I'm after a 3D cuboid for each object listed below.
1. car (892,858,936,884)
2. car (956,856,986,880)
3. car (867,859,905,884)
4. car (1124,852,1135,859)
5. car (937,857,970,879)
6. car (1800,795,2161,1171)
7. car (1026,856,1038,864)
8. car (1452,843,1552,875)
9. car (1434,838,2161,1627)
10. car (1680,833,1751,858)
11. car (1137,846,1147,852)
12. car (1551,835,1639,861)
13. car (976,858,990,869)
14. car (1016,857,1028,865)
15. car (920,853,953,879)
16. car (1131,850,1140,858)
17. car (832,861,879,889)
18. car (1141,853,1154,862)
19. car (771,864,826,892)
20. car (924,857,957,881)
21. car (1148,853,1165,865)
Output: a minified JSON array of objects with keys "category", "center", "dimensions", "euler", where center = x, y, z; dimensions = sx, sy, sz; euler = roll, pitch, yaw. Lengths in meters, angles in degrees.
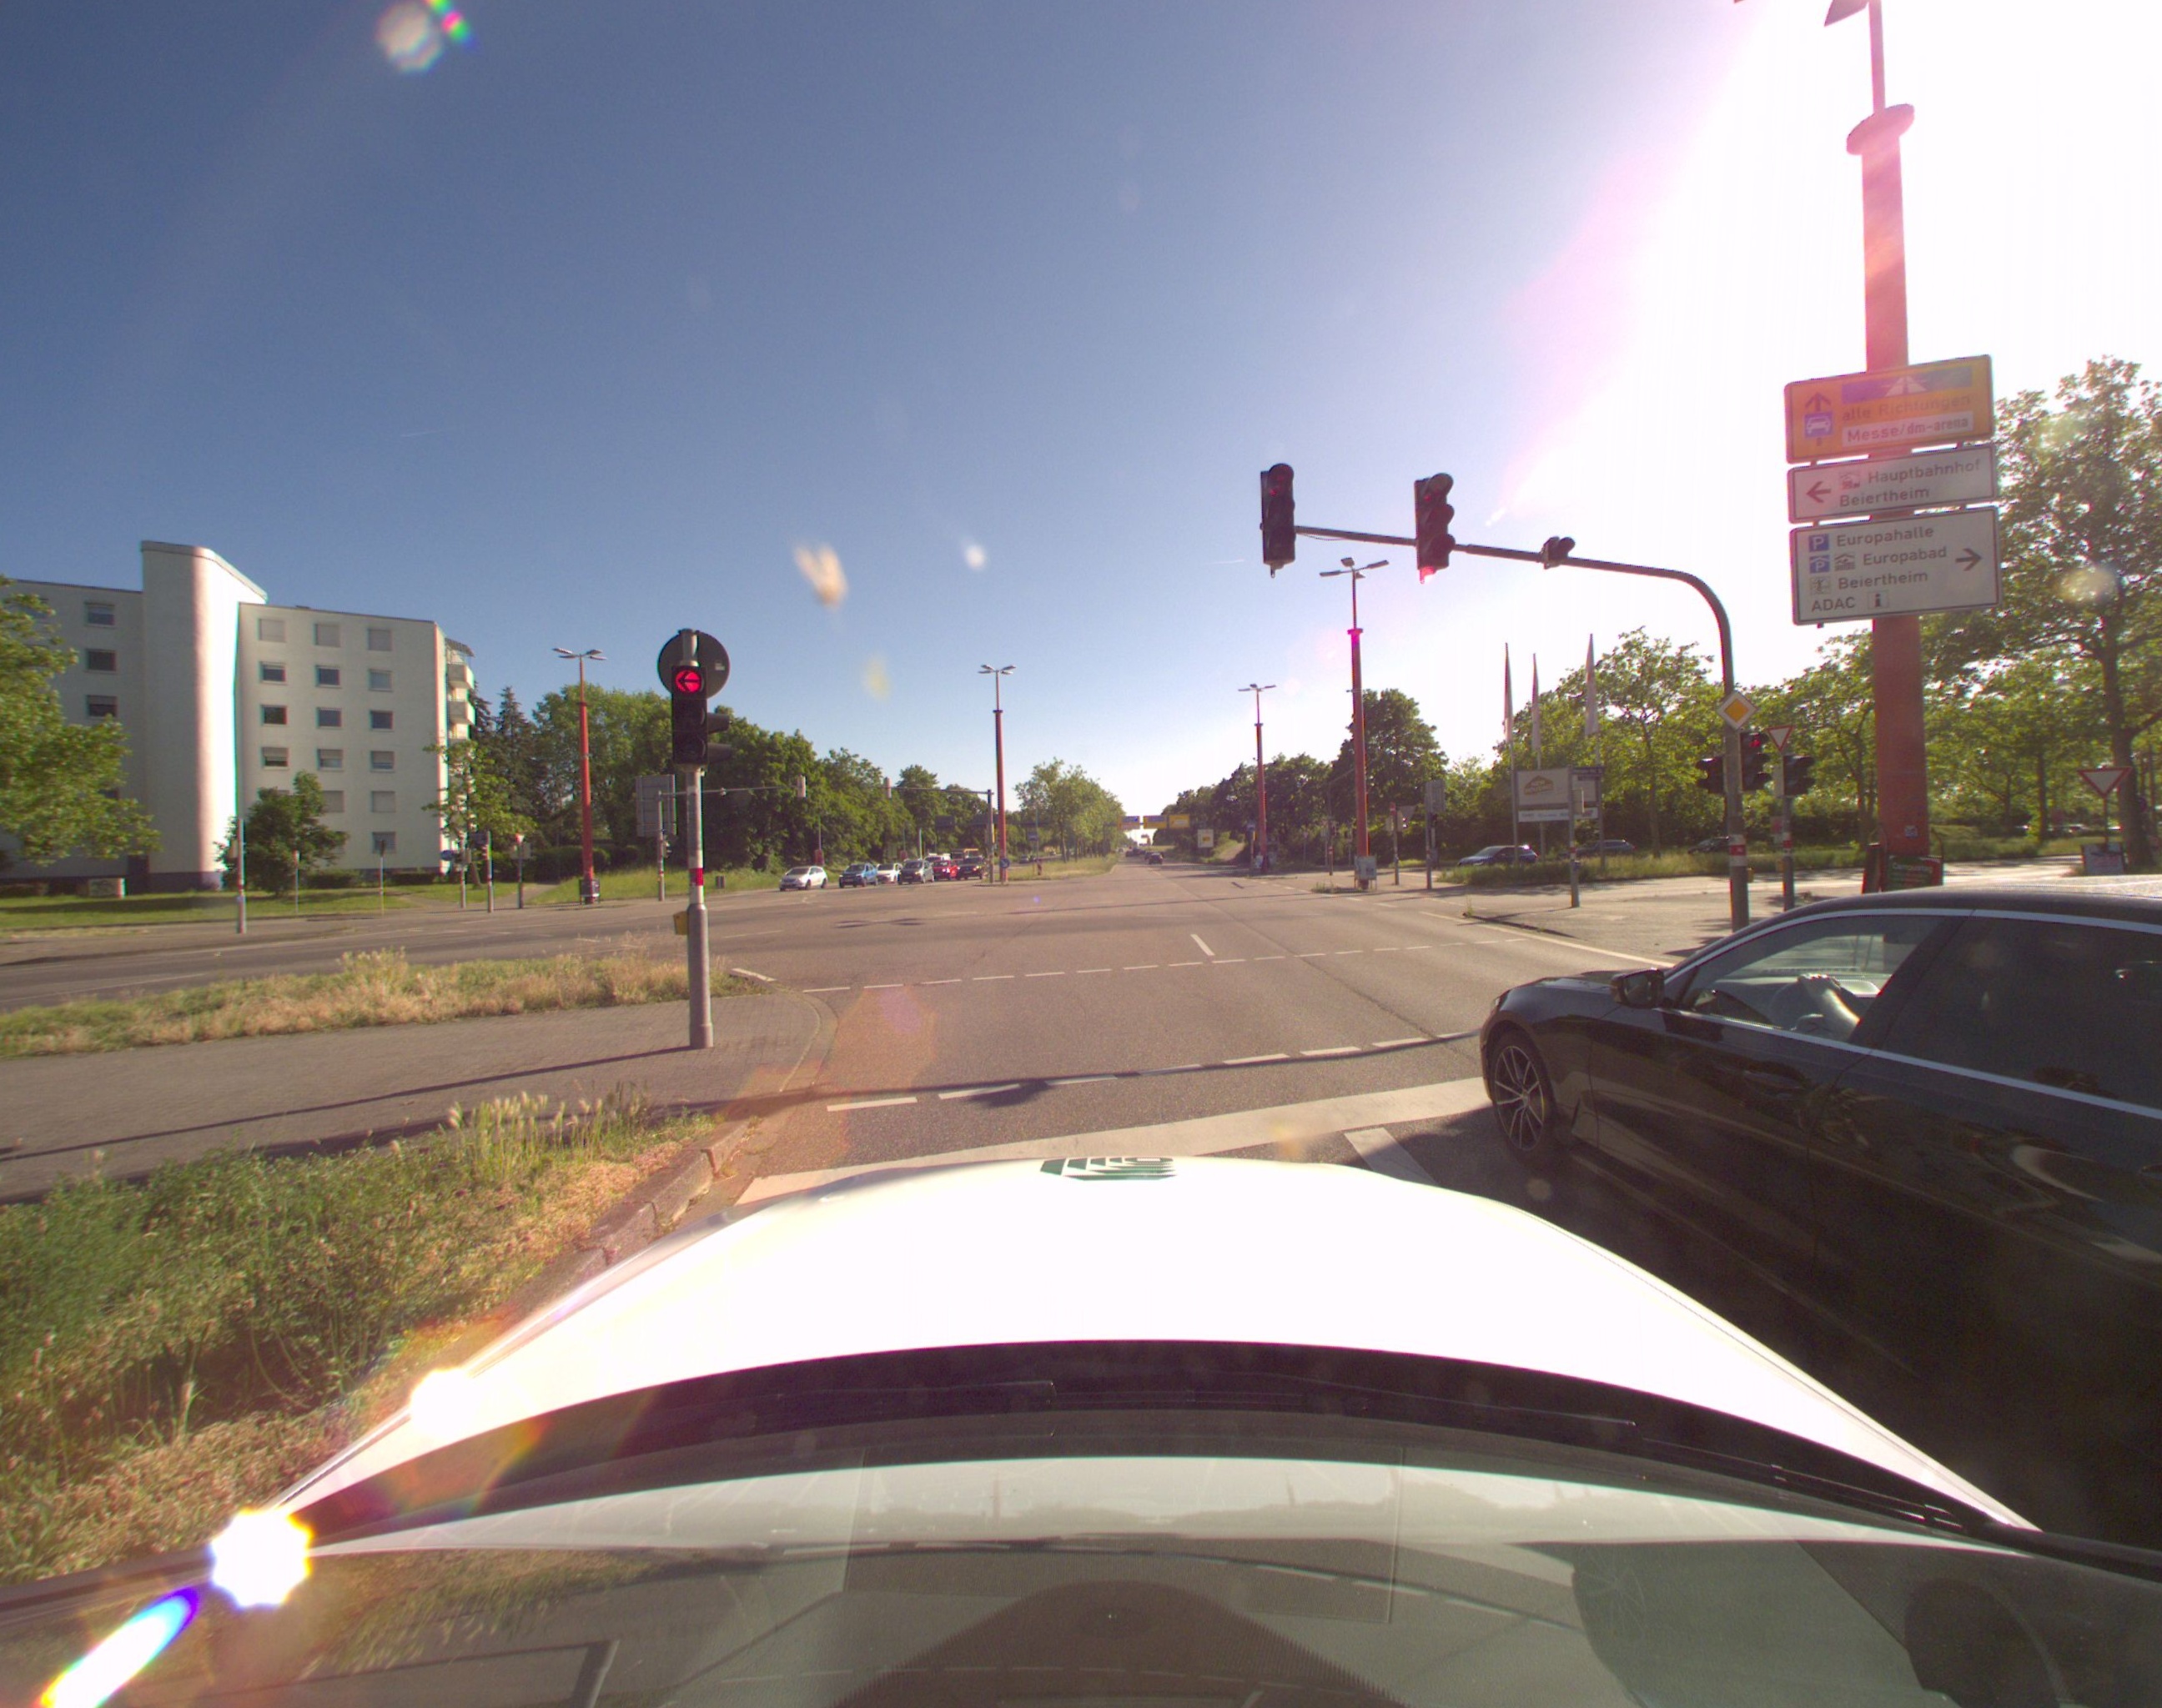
[{"category":"car","center":[-10.728,1.051,52.590],"dimensions":[1.988,1.573,4.119],"euler":[-2,0,-1]},{"category":"car","center":[-7.561,0.943,56.499],"dimensions":[1.874,1.573,4.112],"euler":[-2,0,-6]},{"category":"car","center":[-13.734,1.221,57.533],"dimensions":[1.991,1.573,4.112],"euler":[-3,0,-6]},{"category":"car","center":[11.096,0.297,186.398],"dimensions":[2.241,1.573,4.276],"euler":[-2,0,-3]},{"category":"car","center":[-10.061,1.098,64.663],"dimensions":[1.988,1.573,4.118],"euler":[-2,0,-1]},{"category":"car","center":[5.801,0.564,3.270],"dimensions":[1.959,1.686,4.479],"euler":[-1,0,2]},{"category":"car","center":[-10.366,1.199,173.748],"dimensions":[1.984,1.573,4.125],"euler":[-2,0,4]},{"category":"car","center":[20.810,0.233,40.283],"dimensions":[4.276,1.428,1.874],"euler":[-2,0,-16]},{"category":"car","center":[2.955,0.670,2.382],"dimensions":[1.986,1.394,4.479],"euler":[-2,0,2]},{"category":"car","center":[44.177,-0.572,56.717],"dimensions":[4.288,1.573,2.148],"euler":[-2,0,-25]},{"category":"car","center":[16.607,-1.410,220.699],"dimensions":[2.153,1.573,4.277],"euler":[-2,0,-2]},{"category":"car","center":[33.990,-0.375,53.948],"dimensions":[4.561,1.573,2.162],"euler":[-2,0,-6]},{"category":"car","center":[-15.084,1.510,125.464],"dimensions":[1.872,1.573,4.117],"euler":[-2,0,-2]},{"category":"car","center":[-11.383,1.327,157.859],"dimensions":[1.877,1.454,3.658],"euler":[-2,0,2]},{"category":"car","center":[-12.729,1.058,71.996],"dimensions":[2.055,2.193,4.377],"euler":[-2,0,0]},{"category":"car","center":[13.561,0.036,202.272],"dimensions":[1.986,2.013,4.002],"euler":[-2,0,2]},{"category":"car","center":[-14.232,1.290,51.650],"dimensions":[1.989,1.573,4.116],"euler":[-2,0,-3]},{"category":"car","center":[12.717,0.645,155.918],"dimensions":[2.153,1.573,4.277],"euler":[-2,0,-2]},{"category":"car","center":[-17.689,1.473,51.190],"dimensions":[1.987,1.573,4.120],"euler":[-2,0,0]},{"category":"car","center":[-10.099,1.051,58.881],"dimensions":[1.991,1.573,4.112],"euler":[-2,0,-6]},{"category":"car","center":[10.362,0.672,112.329],"dimensions":[2.149,1.573,4.285],"euler":[-2,0,4]}]
